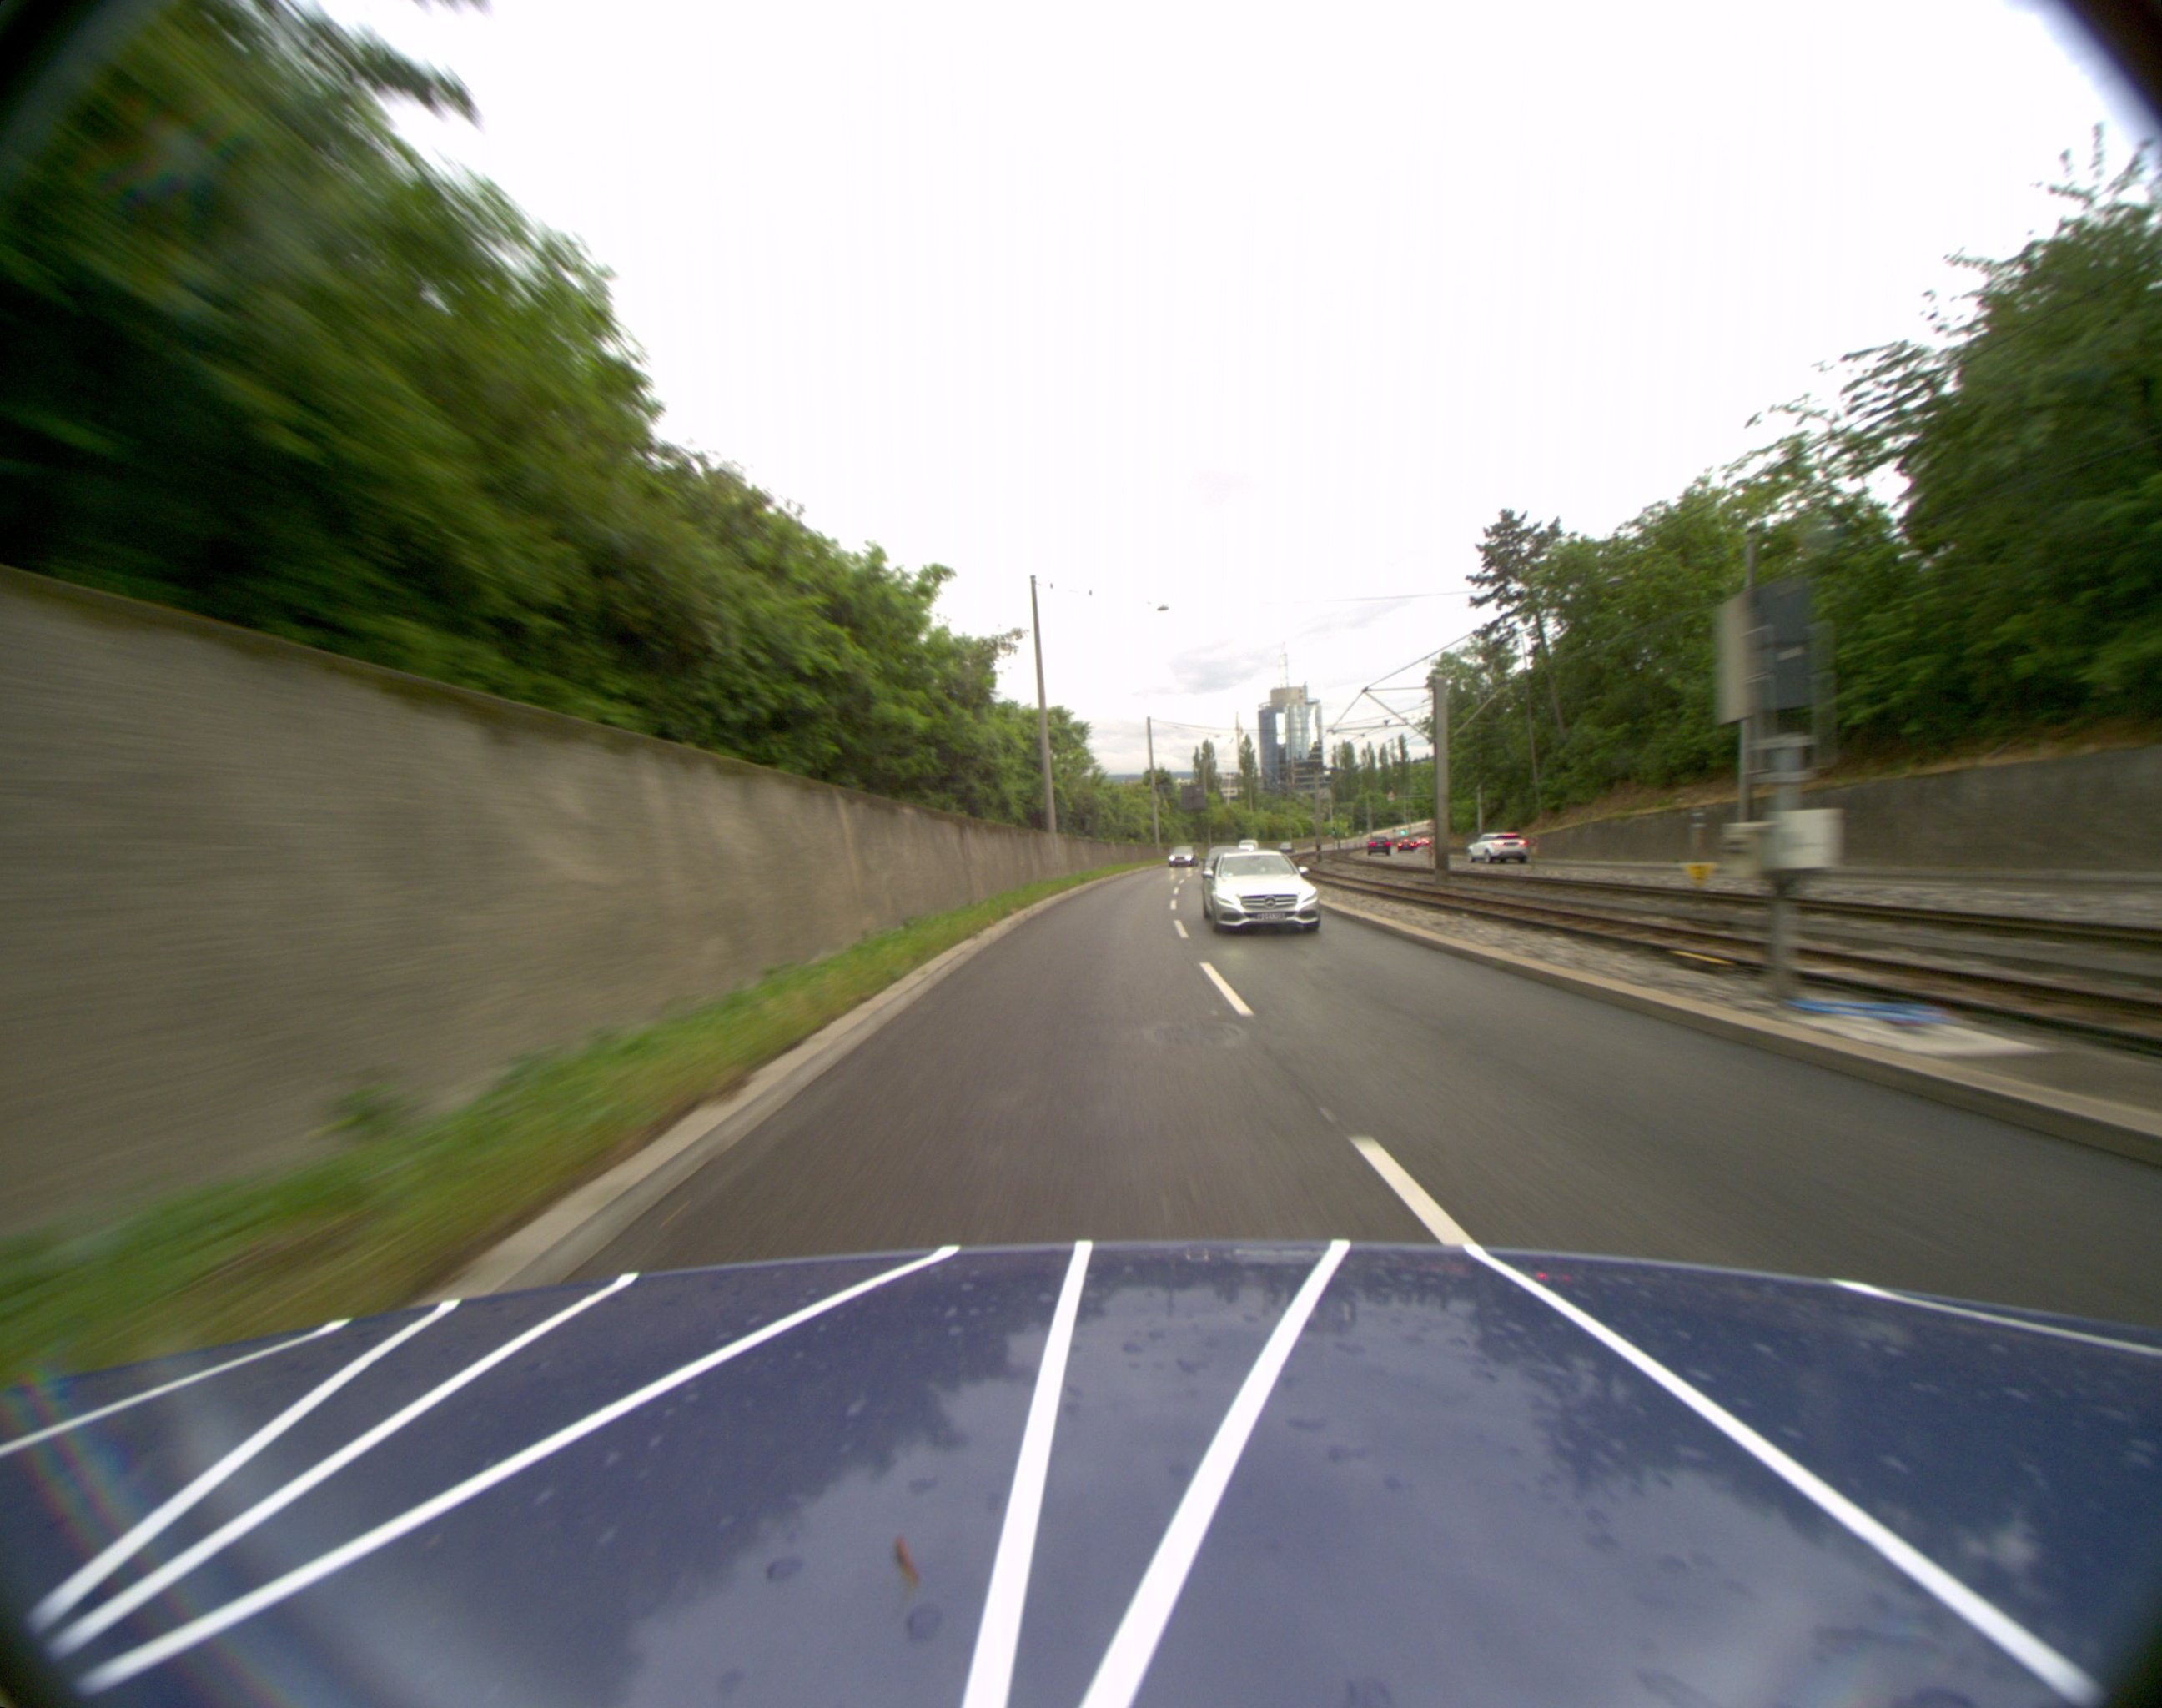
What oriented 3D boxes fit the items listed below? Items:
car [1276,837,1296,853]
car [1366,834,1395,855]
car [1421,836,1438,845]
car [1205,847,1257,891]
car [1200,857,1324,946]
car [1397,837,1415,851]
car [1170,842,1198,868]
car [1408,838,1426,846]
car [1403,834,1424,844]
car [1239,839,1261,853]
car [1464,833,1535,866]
[{"bbox_3d":[28.403,-1.260,105.267,1.995,2.002,4.501,-1,1,24],"label":"car"},{"bbox_3d":[28.513,-0.920,72.429,2.236,1.820,5.143,-1,1,18],"label":"car"},{"bbox_3d":[58.527,-2.320,127.626,1.802,1.415,4.470,-2,1,35],"label":"car"},{"bbox_3d":[5.571,0.516,28.379,1.728,1.462,3.890,-2,1,10],"label":"car"},{"bbox_3d":[3.308,0.797,14.671,1.860,1.395,4.317,-1,0,7],"label":"car"},{"bbox_3d":[36.908,-1.126,86.327,1.826,1.462,4.420,0,1,22],"label":"car"},{"bbox_3d":[7.227,0.060,53.111,1.809,1.502,4.000,-4,3,8],"label":"car"},{"bbox_3d":[62.748,-2.312,141.928,1.906,1.450,4.471,0,1,39],"label":"car"},{"bbox_3d":[47.840,-2.173,109.150,1.894,1.373,4.461,-1,1,35],"label":"car"},{"bbox_3d":[21.032,-1.020,94.584,1.807,1.502,4.004,-3,3,25],"label":"car"},{"bbox_3d":[22.726,-0.254,41.462,1.938,1.674,4.410,-1,1,8],"label":"car"}]
